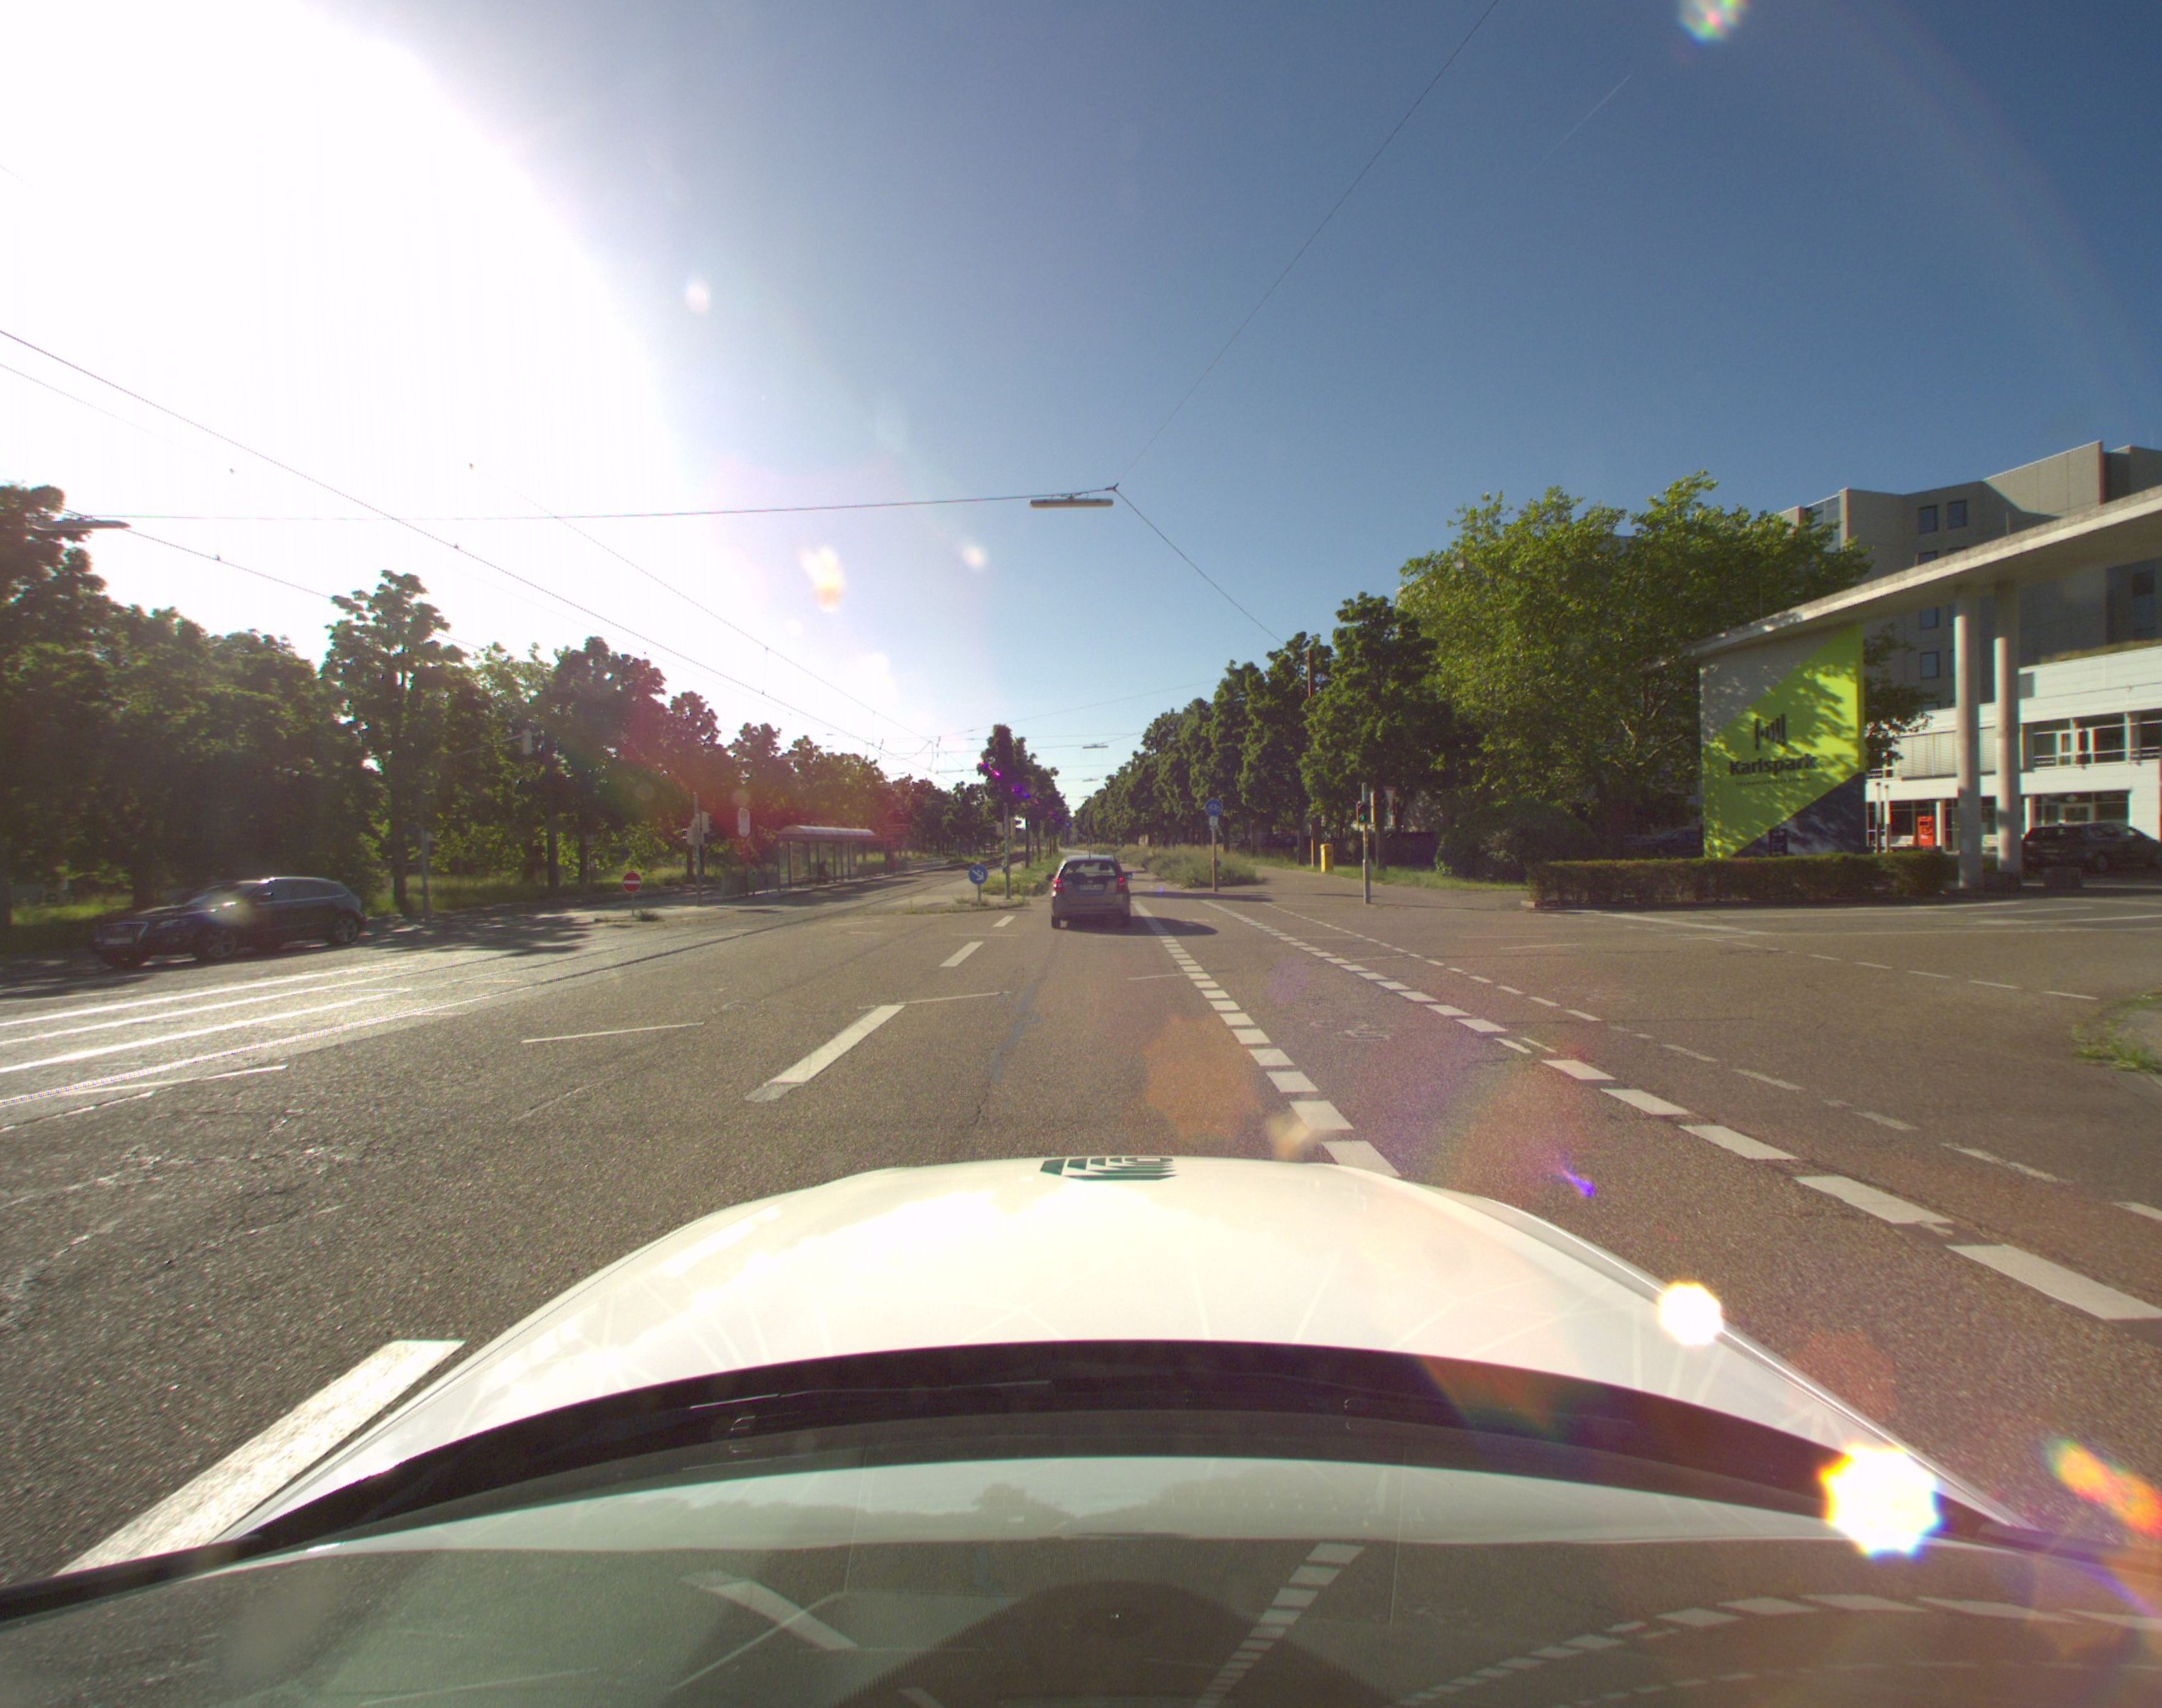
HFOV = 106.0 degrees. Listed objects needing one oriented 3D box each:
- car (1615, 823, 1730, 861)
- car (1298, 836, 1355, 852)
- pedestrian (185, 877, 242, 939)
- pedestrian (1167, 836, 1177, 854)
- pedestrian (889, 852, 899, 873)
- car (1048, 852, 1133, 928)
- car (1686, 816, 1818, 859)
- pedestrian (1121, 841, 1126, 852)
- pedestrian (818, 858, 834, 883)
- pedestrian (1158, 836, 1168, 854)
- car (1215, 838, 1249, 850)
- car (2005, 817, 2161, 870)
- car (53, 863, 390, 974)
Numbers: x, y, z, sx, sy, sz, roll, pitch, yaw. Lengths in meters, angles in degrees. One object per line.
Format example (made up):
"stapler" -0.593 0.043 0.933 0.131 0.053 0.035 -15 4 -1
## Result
"car" 29.410 -0.587 40.564 4.448 1.686 1.892 -2 0 -4
"car" 23.142 -0.973 76.843 4.625 1.327 2.105 -2 1 36
"pedestrian" -25.564 1.569 24.002 0.751 1.734 0.943 -2 0 30
"pedestrian" 9.755 -0.999 87.401 0.880 1.884 0.875 -2 0 -2
"pedestrian" -13.095 0.567 57.001 0.542 1.447 0.559 -3 0 1
"car" 0.243 0.746 18.311 1.694 1.524 3.711 -1 -1 2
"car" 30.192 -0.728 36.688 4.888 1.757 2.082 -2 0 -14
"pedestrian" 6.554 -1.170 126.191 0.723 1.690 0.821 -1 0 -1
"pedestrian" -13.261 0.868 42.430 0.562 1.257 0.581 -4 0 1
"pedestrian" 8.819 -0.989 87.405 0.880 1.884 0.875 -2 0 -2
"car" 22.383 -1.469 120.707 4.623 1.555 1.997 -2 0 -5
"car" 32.516 -0.343 26.113 3.984 1.578 1.949 -1 0 -8
"car" -18.103 1.239 17.633 2.087 1.810 4.792 -4 1 0
